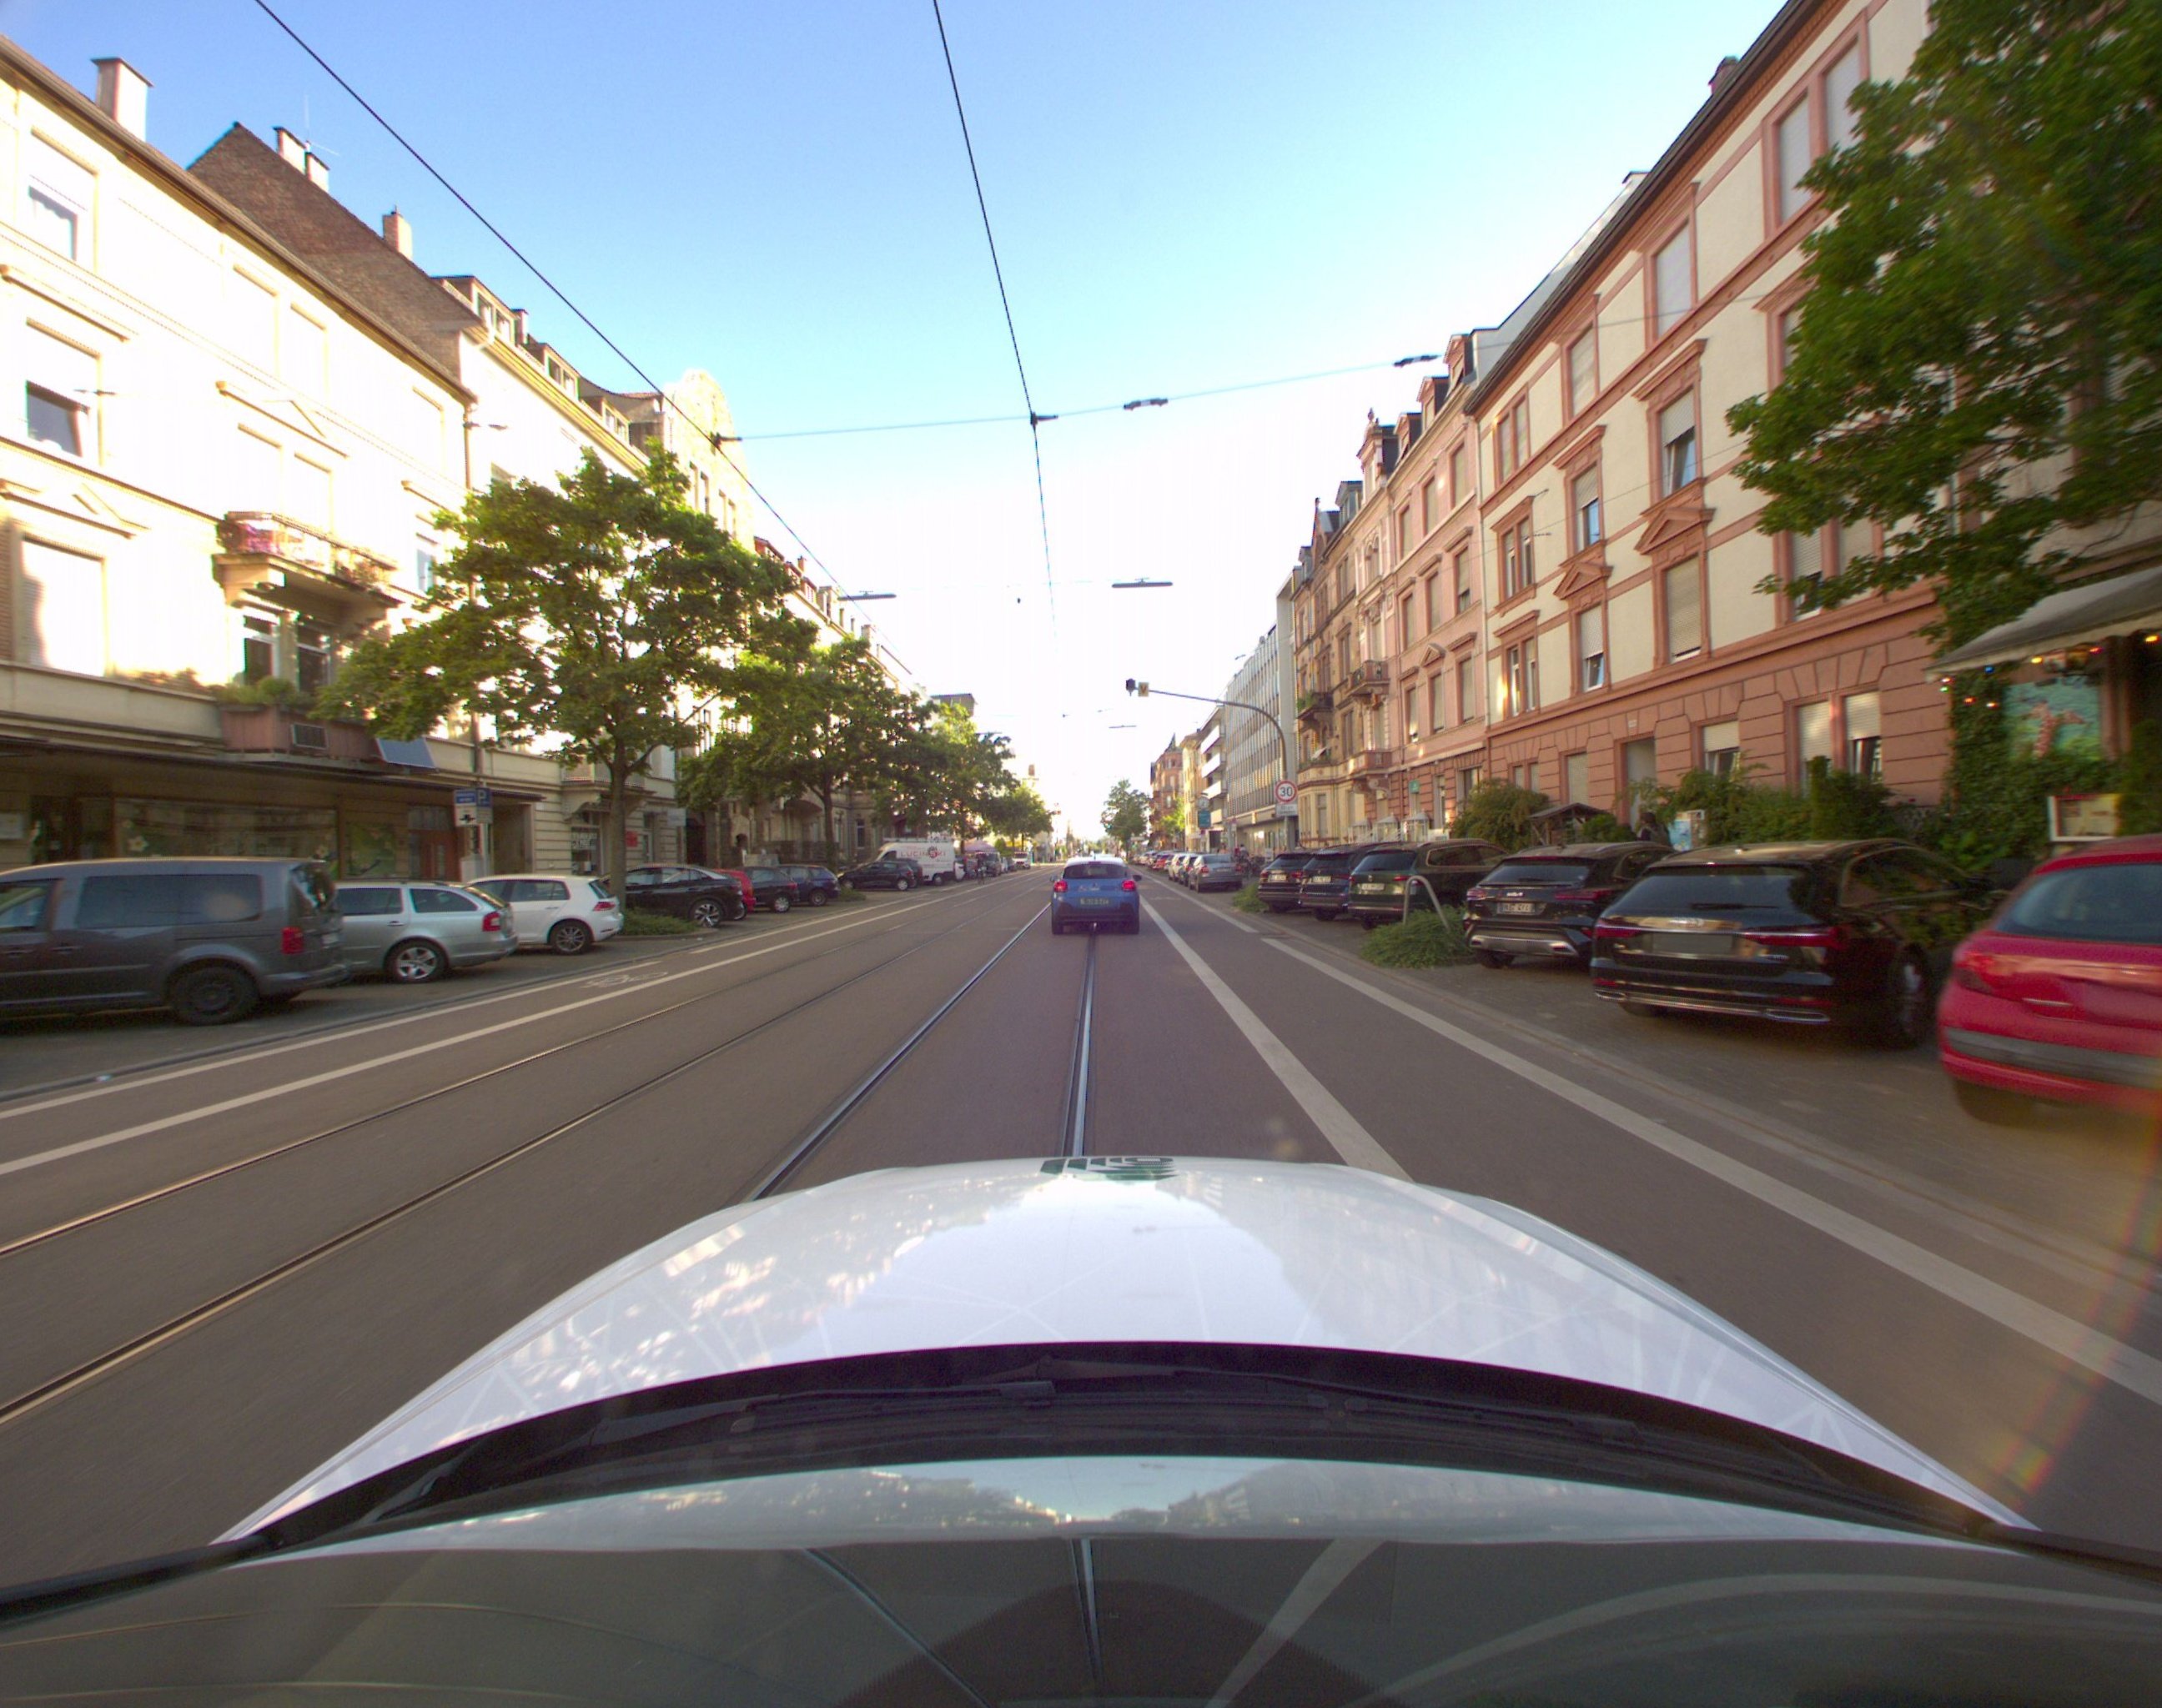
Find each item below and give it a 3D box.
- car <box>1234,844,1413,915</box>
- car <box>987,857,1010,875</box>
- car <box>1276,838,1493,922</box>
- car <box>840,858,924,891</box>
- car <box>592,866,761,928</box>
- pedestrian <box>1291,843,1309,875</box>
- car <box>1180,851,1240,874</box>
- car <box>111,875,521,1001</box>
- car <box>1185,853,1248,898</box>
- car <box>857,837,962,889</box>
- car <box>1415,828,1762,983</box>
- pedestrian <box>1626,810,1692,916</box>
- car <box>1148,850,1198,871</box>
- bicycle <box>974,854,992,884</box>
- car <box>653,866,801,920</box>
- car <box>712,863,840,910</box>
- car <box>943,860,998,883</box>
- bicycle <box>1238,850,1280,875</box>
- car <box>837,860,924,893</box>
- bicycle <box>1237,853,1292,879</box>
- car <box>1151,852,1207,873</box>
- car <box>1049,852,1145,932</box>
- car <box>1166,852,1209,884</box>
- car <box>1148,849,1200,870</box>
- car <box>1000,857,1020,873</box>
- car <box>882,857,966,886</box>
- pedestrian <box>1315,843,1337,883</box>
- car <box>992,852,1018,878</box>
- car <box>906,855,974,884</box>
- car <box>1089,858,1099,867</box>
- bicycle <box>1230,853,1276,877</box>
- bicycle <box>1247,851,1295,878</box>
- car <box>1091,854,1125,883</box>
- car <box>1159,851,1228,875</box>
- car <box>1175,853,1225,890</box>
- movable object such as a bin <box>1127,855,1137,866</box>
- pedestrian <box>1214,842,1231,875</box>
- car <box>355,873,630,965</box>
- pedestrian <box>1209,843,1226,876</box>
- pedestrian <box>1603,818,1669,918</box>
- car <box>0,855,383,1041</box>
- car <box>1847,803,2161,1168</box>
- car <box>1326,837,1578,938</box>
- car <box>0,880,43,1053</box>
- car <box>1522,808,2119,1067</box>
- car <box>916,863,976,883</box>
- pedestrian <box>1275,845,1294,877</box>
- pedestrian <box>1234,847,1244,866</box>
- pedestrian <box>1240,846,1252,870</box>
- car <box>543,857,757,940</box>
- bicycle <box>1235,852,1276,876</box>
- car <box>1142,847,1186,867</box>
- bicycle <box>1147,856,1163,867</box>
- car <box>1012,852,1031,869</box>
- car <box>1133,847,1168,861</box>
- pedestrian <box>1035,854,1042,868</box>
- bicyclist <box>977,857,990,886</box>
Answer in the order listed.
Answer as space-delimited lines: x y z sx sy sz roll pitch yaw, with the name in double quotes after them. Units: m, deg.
6.093 0.567 20.308 4.334 1.596 1.961 0 -1 -34 "car"
-7.574 1.116 75.390 1.742 1.618 4.408 -1 0 -2 "car"
6.446 0.497 17.358 4.004 1.596 2.071 -1 -1 -23 "car"
-10.292 1.026 42.194 4.006 1.618 1.699 -1 -1 -24 "car"
-11.073 1.118 22.347 4.013 1.489 1.849 0 -1 -31 "car"
11.364 0.262 42.277 0.709 1.607 0.654 -1 -1 0 "pedestrian"
8.971 0.573 56.729 3.796 1.487 1.822 -1 -1 -28 "car"
-10.615 1.078 11.774 4.032 1.449 1.682 -1 -1 -31 "car"
5.275 0.808 32.276 1.866 1.596 4.721 -1 0 2 "car"
-9.515 0.461 45.318 5.402 2.749 1.789 -1 -1 -29 "car"
6.525 0.524 10.381 4.347 1.596 2.025 0 -1 -32 "car"
10.028 0.148 14.155 0.516 1.778 0.864 -1 -1 2 "pedestrian"
7.171 0.498 63.132 3.463 1.555 1.806 0 -1 -31 "car"
-5.625 0.827 46.779 0.678 1.678 2.097 -1 -1 2 "bicycle"
-10.953 1.151 25.226 4.013 1.489 1.788 0 -1 -31 "car"
-10.598 1.073 28.312 4.008 1.489 1.790 -1 -1 -27 "car"
-8.115 1.292 59.798 3.736 1.622 1.777 -1 -1 -20 "car"
8.993 0.447 41.192 2.012 1.221 0.664 -1 -1 0 "bicycle"
-9.753 1.090 39.701 3.994 1.489 1.797 -1 -1 -15 "car"
9.034 0.600 40.118 2.529 1.221 0.664 -1 -1 0 "bicycle"
7.286 0.618 60.600 3.743 1.521 1.949 0 -1 -32 "car"
0.328 0.716 16.816 1.756 1.441 3.557 -1 -1 1 "car"
5.618 0.723 43.405 1.866 1.596 4.002 -1 -1 2 "car"
7.575 0.461 66.054 3.743 1.652 2.027 0 -1 -32 "car"
-6.982 1.074 80.722 1.742 1.487 4.039 -1 0 -2 "car"
-9.644 1.046 50.069 4.787 1.618 1.695 -1 -1 -31 "car"
10.178 0.367 33.817 0.709 1.607 0.654 -1 -1 0 "pedestrian"
-6.188 0.883 66.484 1.742 1.973 5.237 -1 -1 -2 "car"
-9.136 0.975 52.742 4.006 1.817 1.699 -1 -1 -24 "car"
2.026 1.313 124.833 1.417 1.432 3.140 -1 -1 2 "car"
9.316 0.588 44.163 2.347 1.221 0.664 -1 -1 4 "bicycle"
8.982 0.492 38.550 2.050 1.221 0.663 -2 -1 -1 "bicycle"
1.573 0.835 47.645 1.866 1.596 4.002 -1 -1 2 "car"
7.441 0.562 53.885 4.465 1.508 1.522 -1 -1 -28 "car"
5.495 0.787 37.993 1.866 1.596 4.002 -1 -1 2 "car"
6.929 0.856 110.708 1.389 1.483 1.656 -1 -1 1 "movable object such as a bin"
6.907 0.229 39.823 0.709 1.607 0.654 -1 -1 0 "pedestrian"
-10.677 1.118 15.144 3.850 1.430 1.751 -1 -1 -25 "car"
6.880 0.276 41.052 0.709 1.671 0.654 -1 -1 0 "pedestrian"
9.432 0.233 13.870 0.516 1.648 0.864 -1 -1 2 "pedestrian"
-10.428 0.933 9.024 3.835 1.785 1.779 0 -1 -31 "car"
6.355 0.536 4.317 4.004 1.536 1.903 -1 -1 -23 "car"
6.648 0.523 14.627 4.004 1.596 1.944 -1 -1 -23 "car"
-10.721 1.013 5.939 3.479 1.473 1.634 -2 0 -28 "car"
6.208 0.503 6.870 4.454 1.596 2.072 -1 -1 -23 "car"
-9.320 1.280 56.099 3.815 1.265 1.504 -1 -1 -24 "car"
10.516 0.363 42.169 0.709 1.607 0.654 -4 -1 0 "pedestrian"
13.126 0.208 67.783 0.690 1.588 0.678 -1 -1 1 "pedestrian"
12.001 0.275 59.256 0.690 1.756 0.678 -1 -1 1 "pedestrian"
-10.329 0.984 19.711 4.381 1.783 1.976 0 -1 -31 "car"
8.986 0.504 41.981 2.012 1.221 0.664 -1 -1 0 "bicycle"
7.093 0.218 69.139 3.467 1.640 1.666 0 -1 -35 "car"
7.694 0.775 84.678 0.557 1.048 1.789 0 -1 -34 "bicycle"
-6.891 0.748 94.525 1.825 1.848 4.215 -1 -1 2 "car"
8.047 0.030 94.816 3.664 1.574 1.849 -1 -1 -18 "car"
-5.259 0.892 100.627 0.732 1.726 0.623 0 -1 -23 "pedestrian"
-5.603 1.008 46.838 0.632 1.681 0.727 -1 -1 1 "bicyclist"
